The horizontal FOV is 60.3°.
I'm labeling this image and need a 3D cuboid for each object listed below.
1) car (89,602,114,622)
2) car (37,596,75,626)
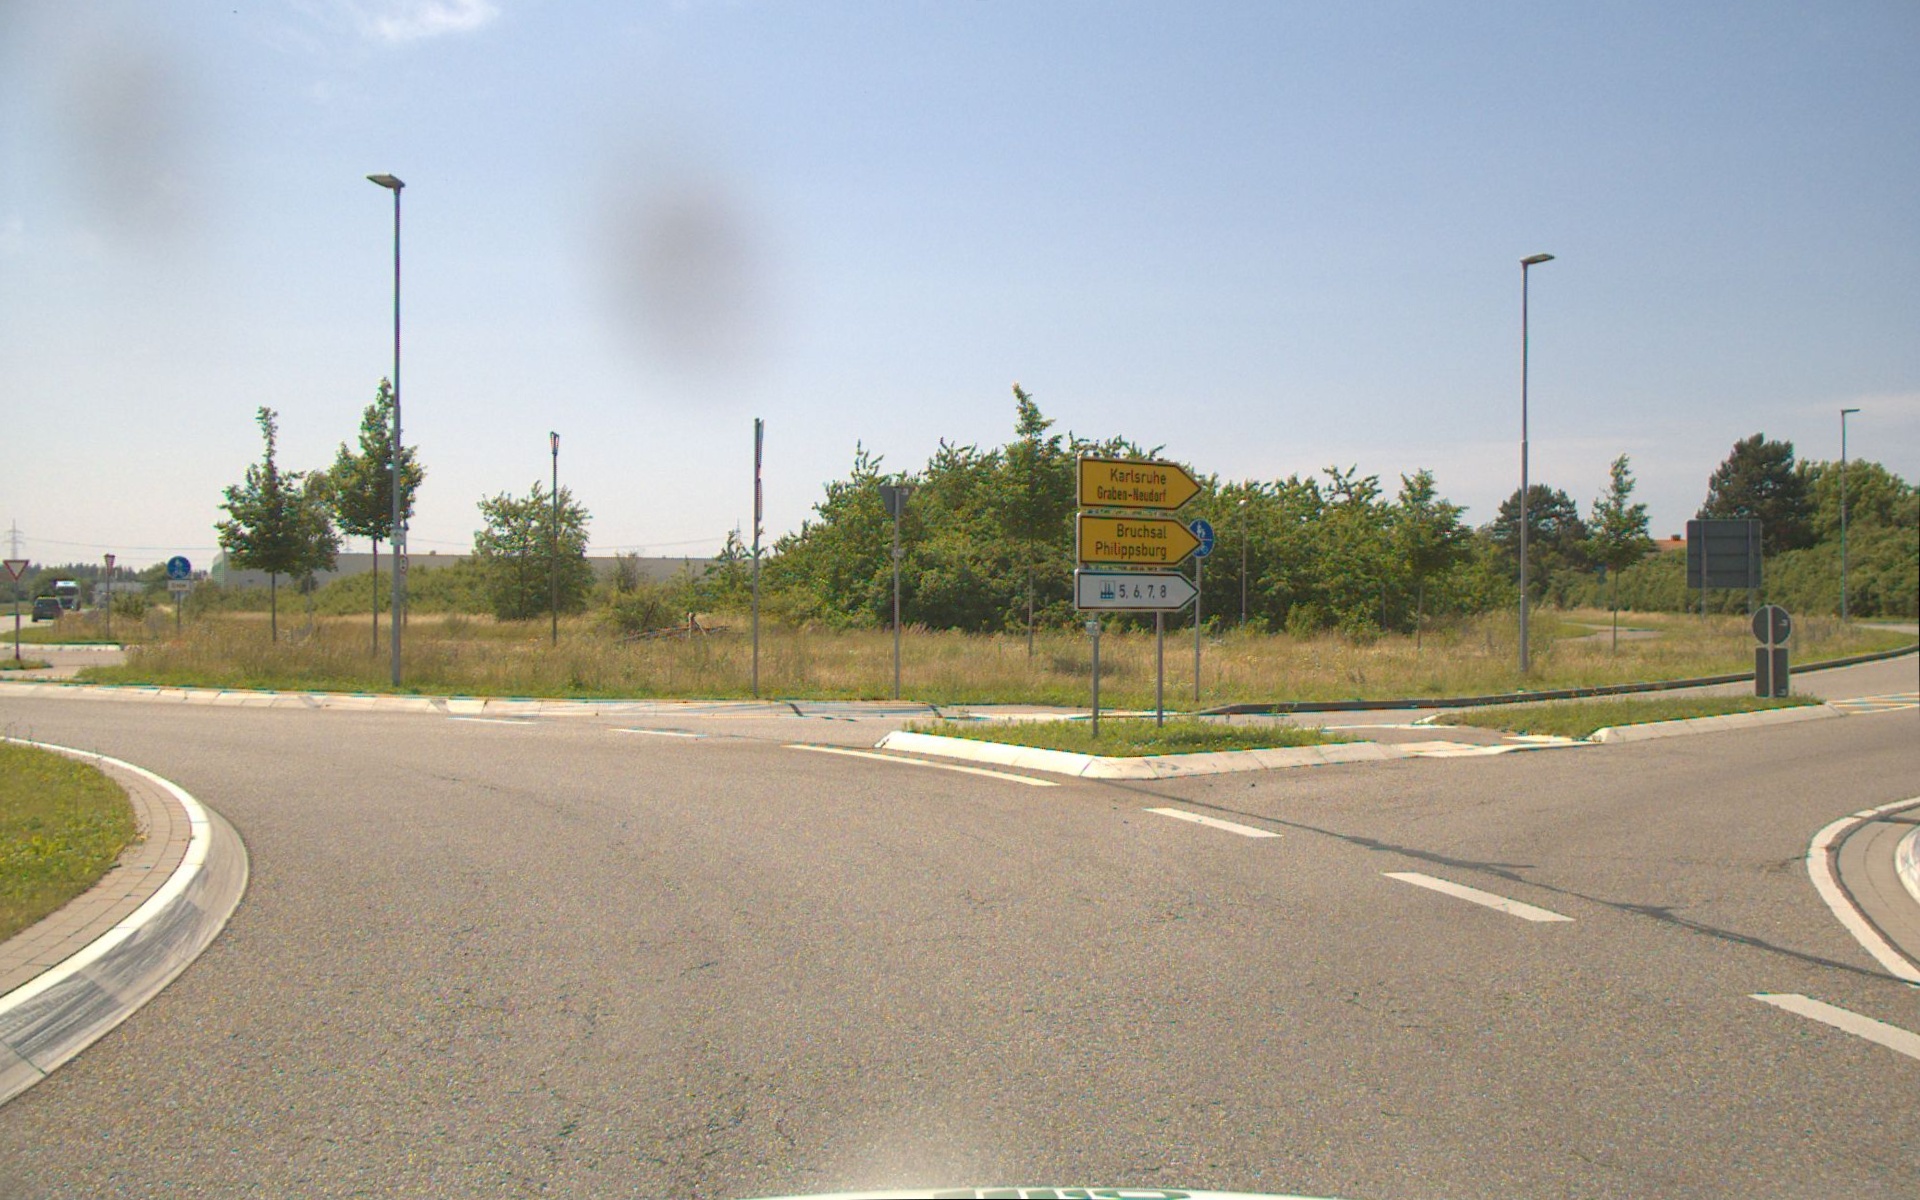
[{"bbox_3d":[-80.740,1.131,155.570,1.970,1.879,4.135,0,0,-27],"label":"car"},{"bbox_3d":[-61.507,0.740,112.538,1.968,1.959,3.969,0,0,-24],"label":"car"}]
